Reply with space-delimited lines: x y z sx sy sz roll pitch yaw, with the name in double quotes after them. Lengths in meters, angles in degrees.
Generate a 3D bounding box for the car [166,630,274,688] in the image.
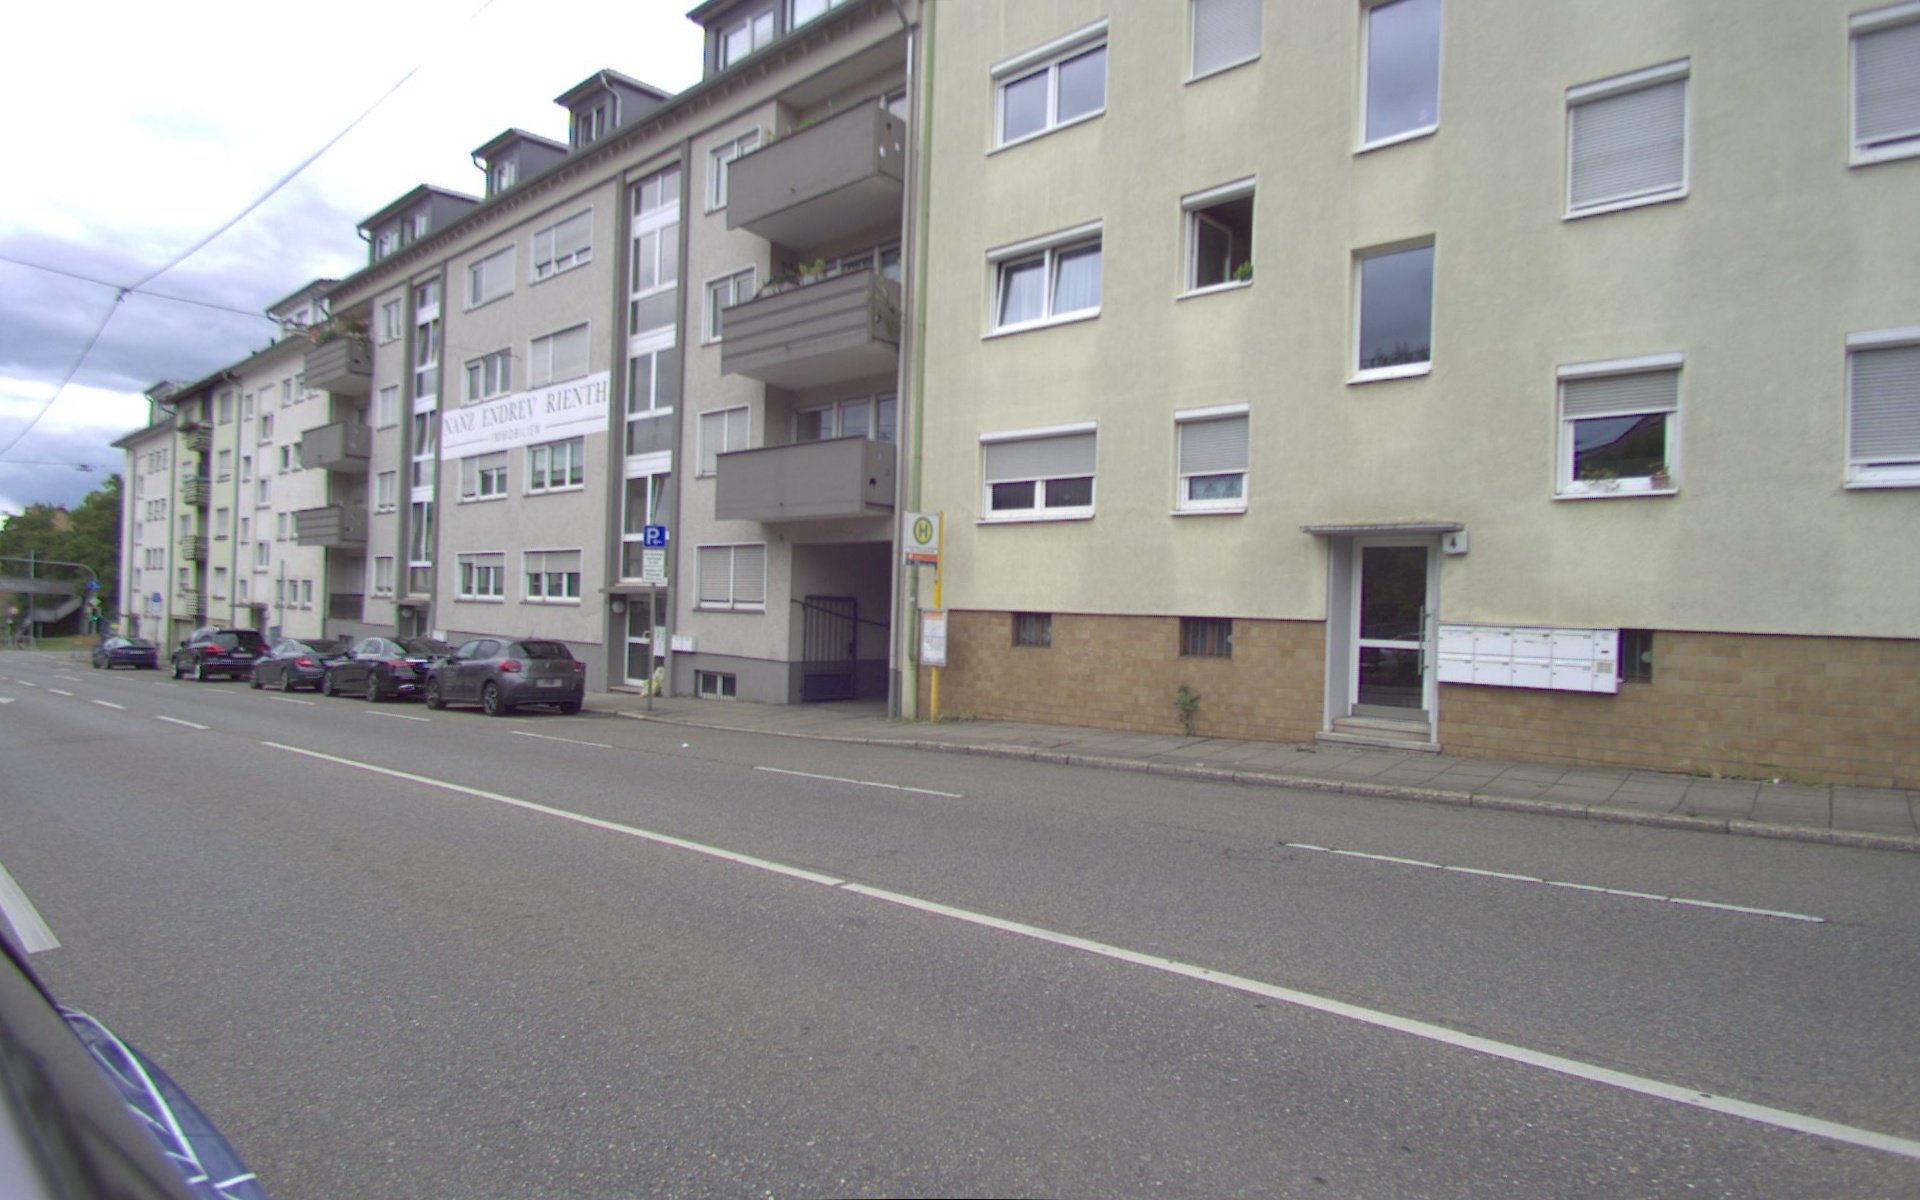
-24.192 1.900 33.034 4.305 1.767 1.851 -1 -5 41 "car"

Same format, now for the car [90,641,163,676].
-36.538 2.539 44.324 4.308 1.391 1.850 -2 -5 43 "car"

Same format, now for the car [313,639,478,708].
-13.055 1.649 23.290 4.716 1.416 1.749 -1 -5 41 "car"

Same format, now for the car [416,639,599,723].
-8.833 1.529 19.636 3.799 1.447 1.749 -1 -5 41 "car"

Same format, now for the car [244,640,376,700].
-17.297 1.836 26.866 4.305 1.416 1.749 -1 -5 41 "car"
